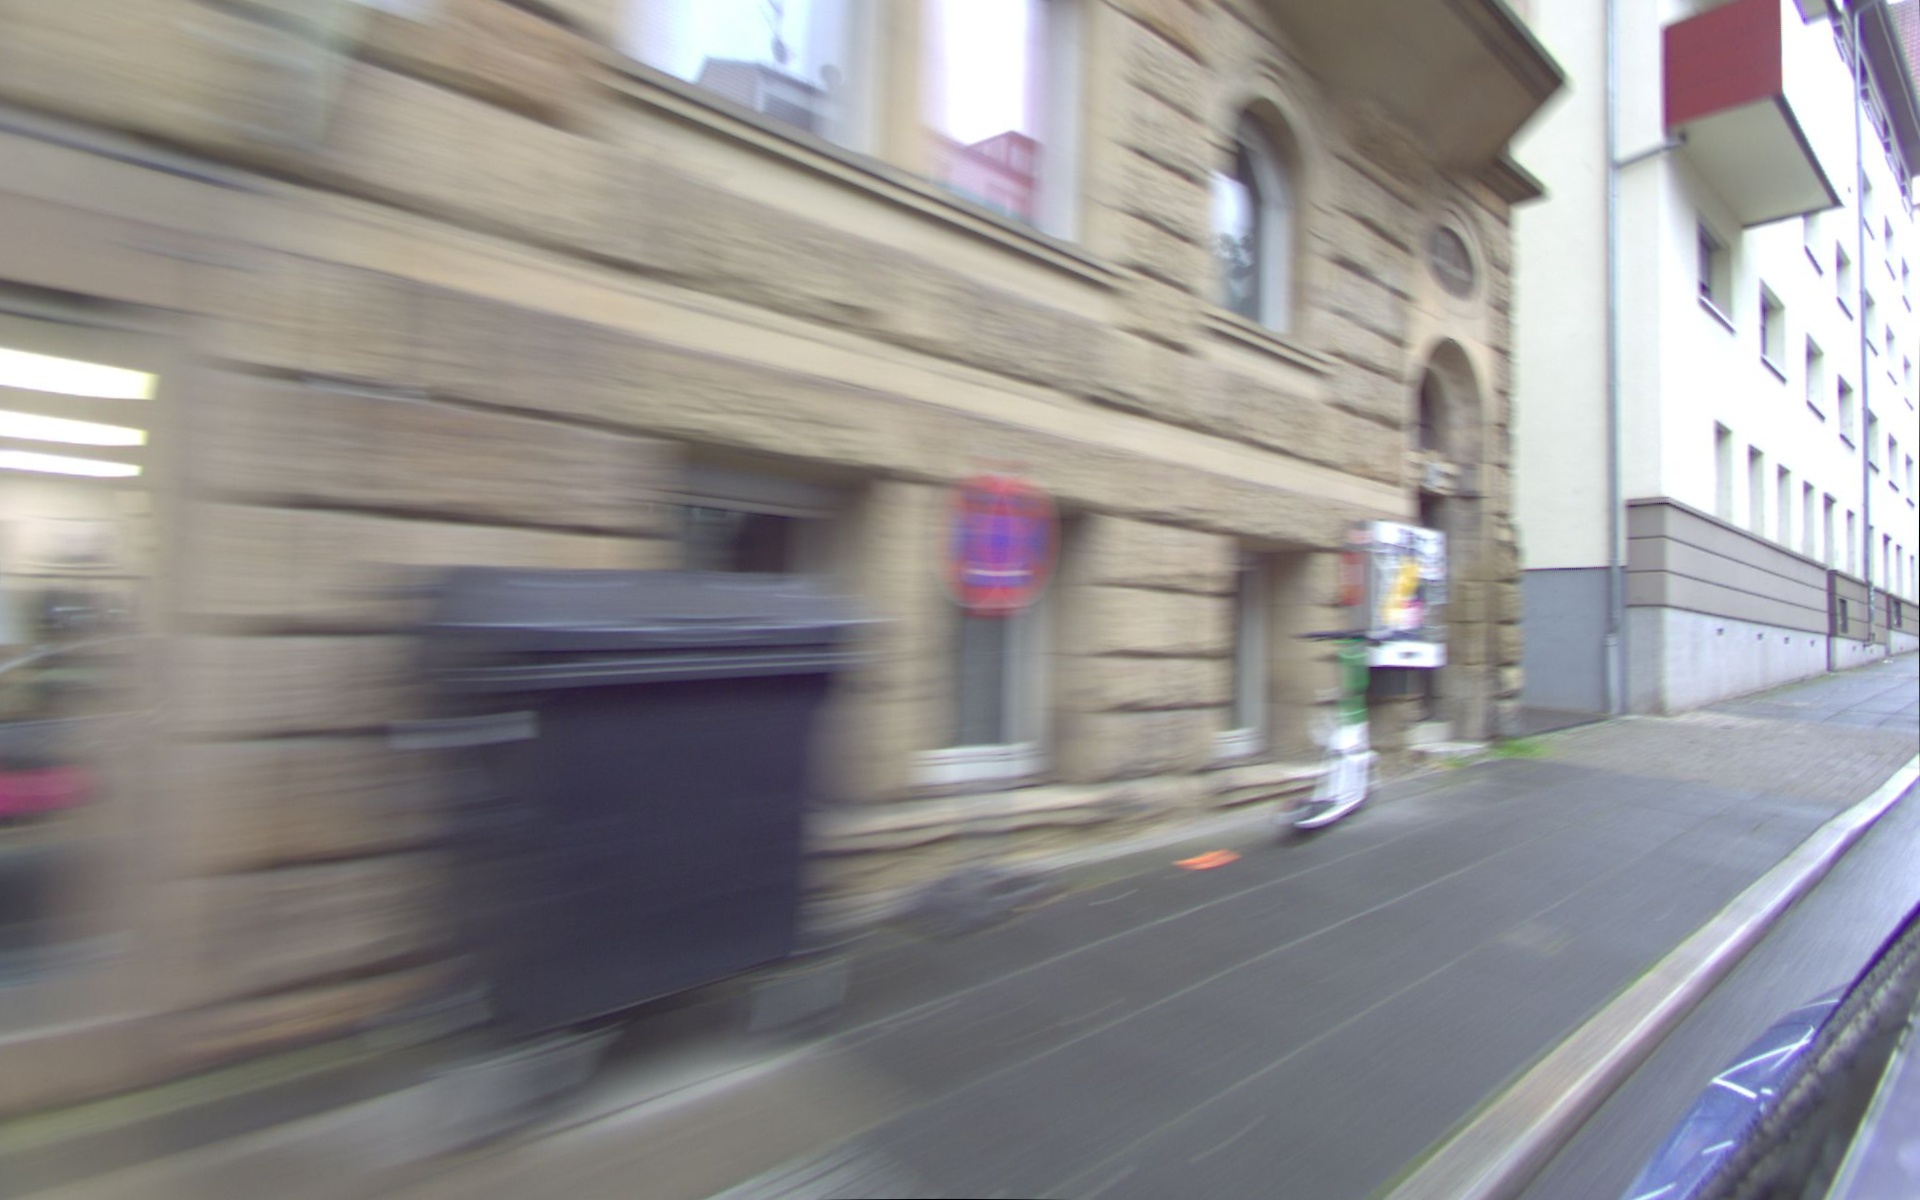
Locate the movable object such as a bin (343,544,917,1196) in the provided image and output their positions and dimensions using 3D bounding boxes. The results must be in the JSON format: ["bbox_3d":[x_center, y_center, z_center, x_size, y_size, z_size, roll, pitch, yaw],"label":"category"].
[{"bbox_3d":[-0.996,0.591,3.104,1.369,1.469,1.011,1,1,-41],"label":"movable object such as a bin"}]

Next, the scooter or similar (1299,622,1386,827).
[{"bbox_3d":[2.335,0.716,6.148,0.209,1.125,0.879,2,2,39],"label":"scooter or similar"}]
